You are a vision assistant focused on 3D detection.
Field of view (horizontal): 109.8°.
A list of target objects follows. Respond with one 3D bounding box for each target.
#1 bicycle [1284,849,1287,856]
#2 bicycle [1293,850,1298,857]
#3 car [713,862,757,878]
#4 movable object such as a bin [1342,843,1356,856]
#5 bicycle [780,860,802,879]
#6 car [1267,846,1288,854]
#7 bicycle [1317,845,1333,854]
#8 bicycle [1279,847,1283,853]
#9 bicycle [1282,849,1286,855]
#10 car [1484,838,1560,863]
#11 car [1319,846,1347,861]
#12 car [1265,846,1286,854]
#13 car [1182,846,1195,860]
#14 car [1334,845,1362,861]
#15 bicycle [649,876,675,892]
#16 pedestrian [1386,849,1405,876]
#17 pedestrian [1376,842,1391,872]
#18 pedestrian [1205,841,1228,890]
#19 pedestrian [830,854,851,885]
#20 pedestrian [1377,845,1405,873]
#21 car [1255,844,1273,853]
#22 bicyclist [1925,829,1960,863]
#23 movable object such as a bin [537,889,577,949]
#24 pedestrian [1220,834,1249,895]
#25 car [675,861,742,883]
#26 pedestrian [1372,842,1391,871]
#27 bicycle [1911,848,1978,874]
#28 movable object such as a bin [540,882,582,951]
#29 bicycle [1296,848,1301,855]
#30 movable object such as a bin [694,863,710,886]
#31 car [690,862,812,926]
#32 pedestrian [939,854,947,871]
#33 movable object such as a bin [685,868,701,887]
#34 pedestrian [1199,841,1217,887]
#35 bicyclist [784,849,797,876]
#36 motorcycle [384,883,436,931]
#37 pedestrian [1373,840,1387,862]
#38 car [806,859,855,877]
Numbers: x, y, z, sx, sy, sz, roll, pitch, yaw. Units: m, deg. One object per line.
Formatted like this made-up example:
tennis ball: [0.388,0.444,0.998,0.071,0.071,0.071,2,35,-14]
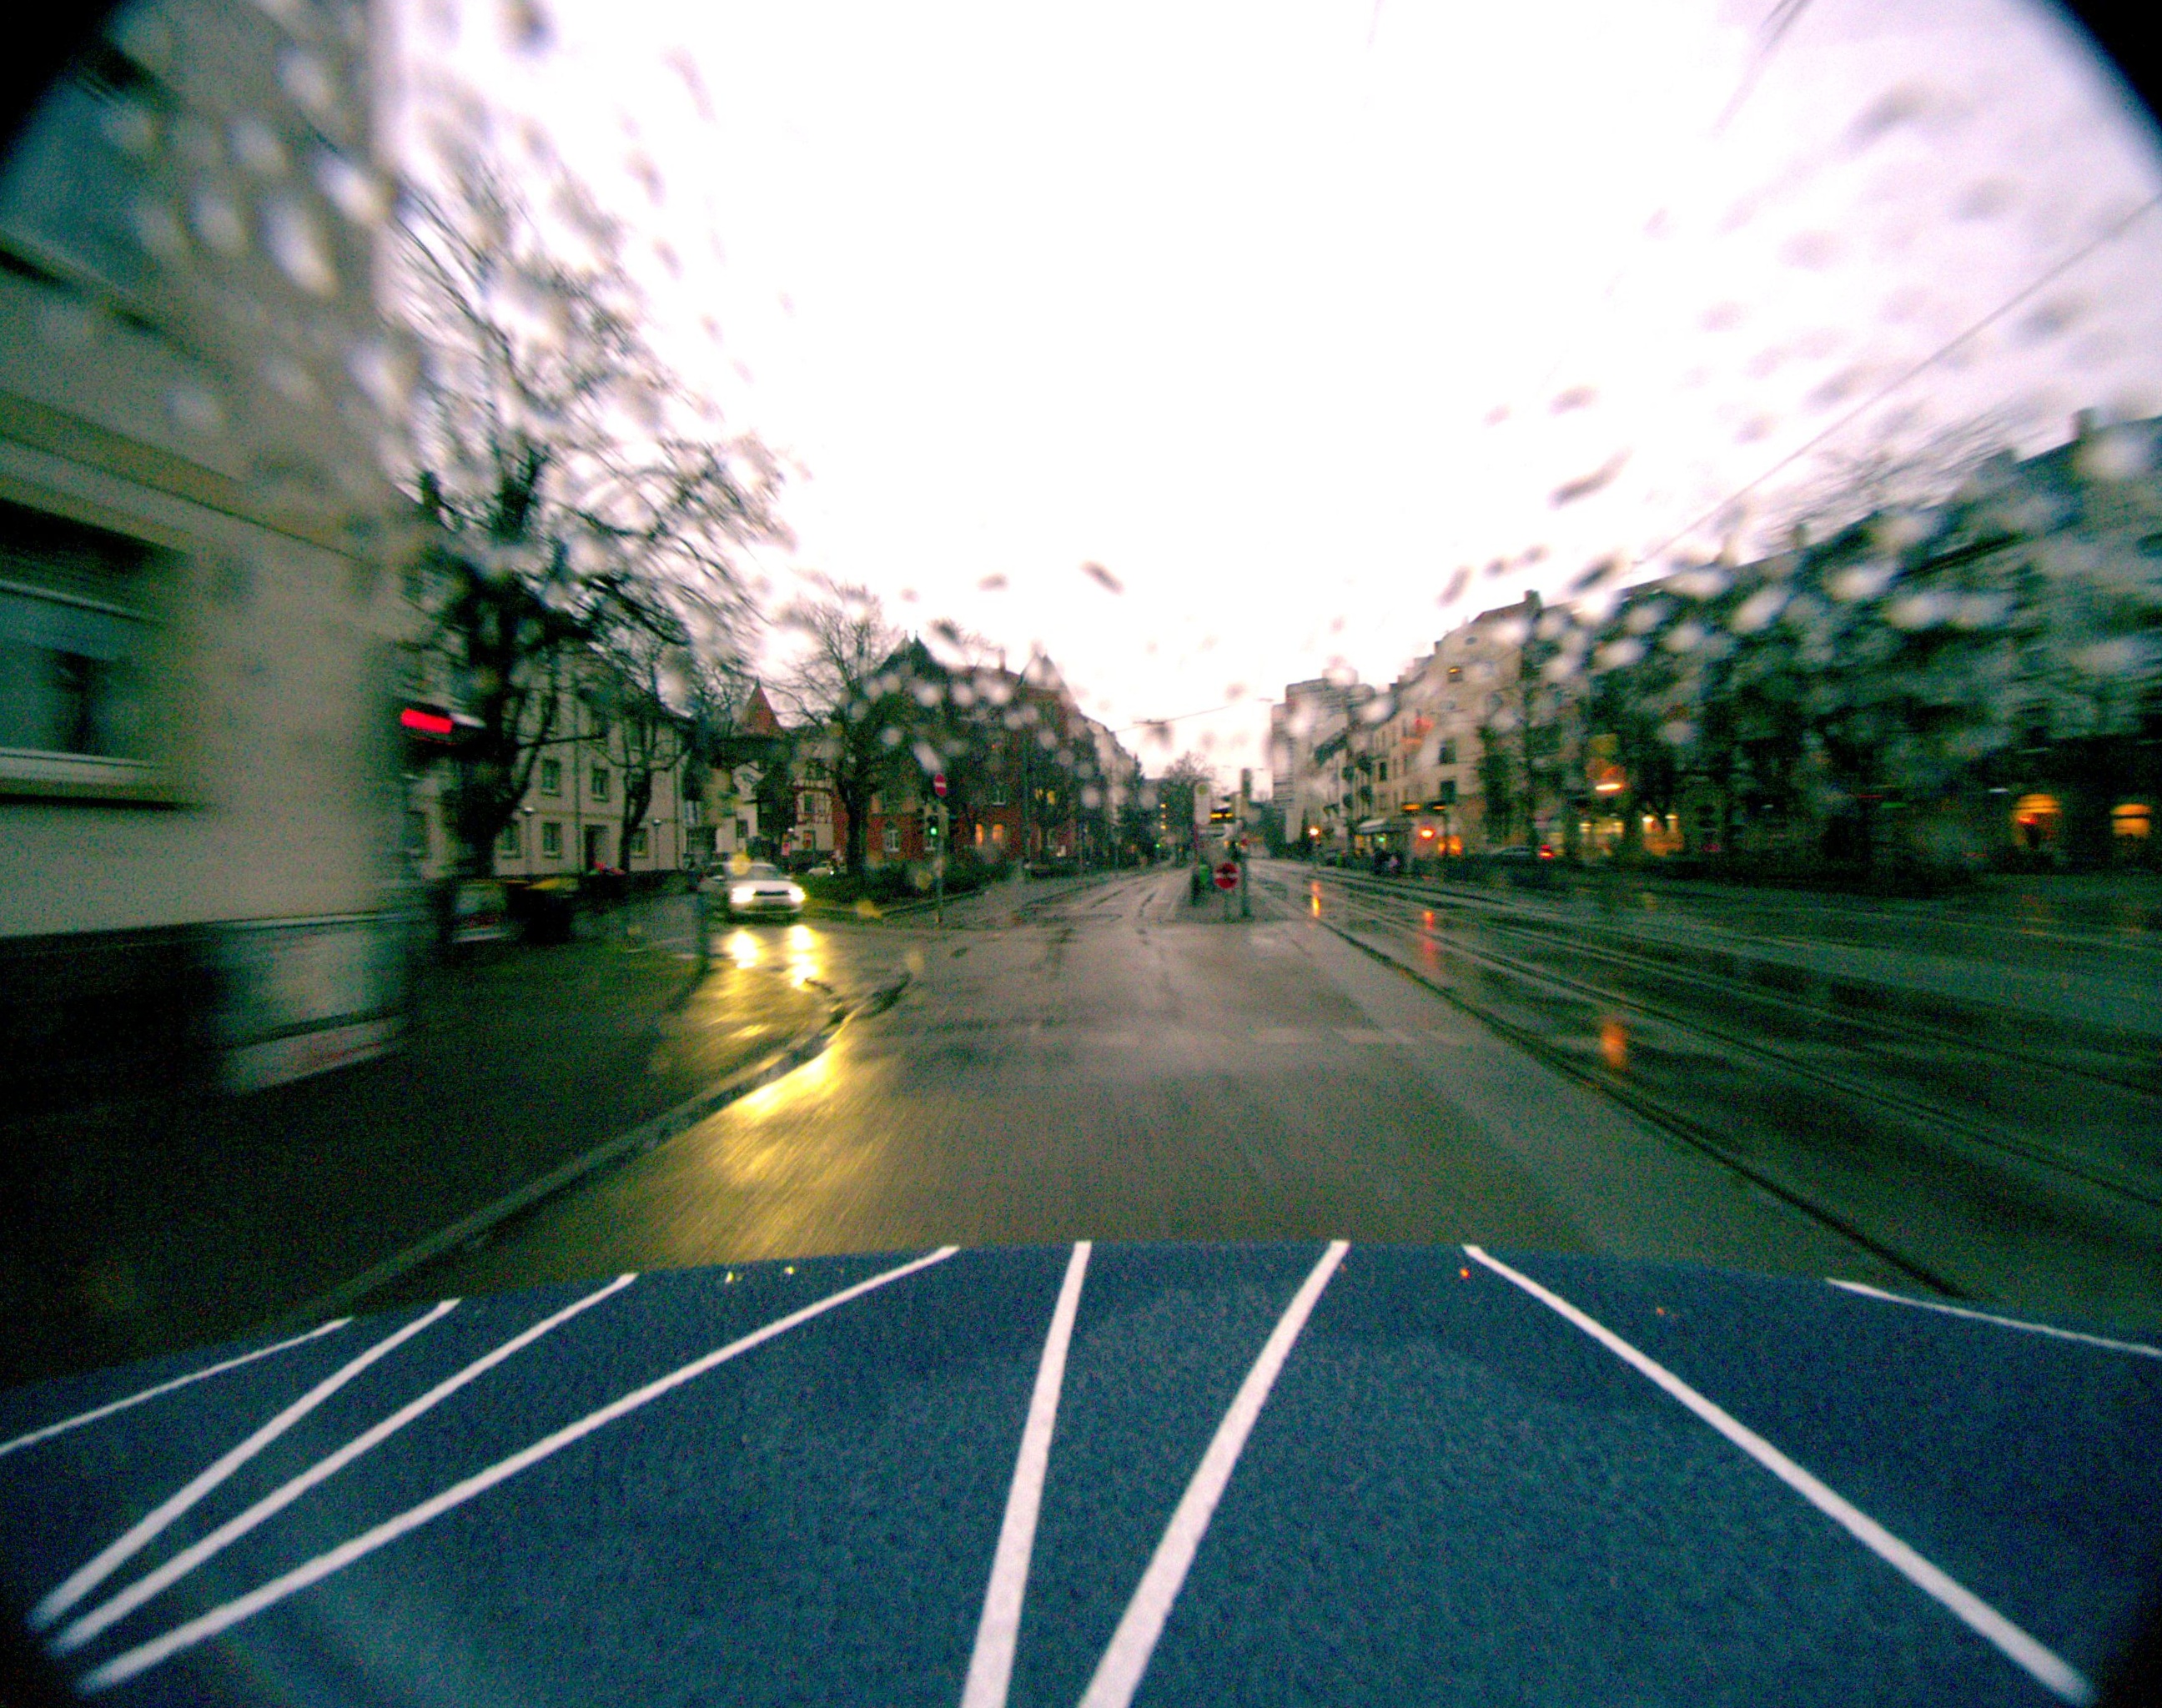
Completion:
bicycle: [34.187,-0.233,127.018,0.435,1.001,1.606,-4,0,11]
bicycle: [32.389,-0.074,114.655,0.530,0.884,2.211,-4,0,14]
car: [-32.517,1.488,71.333,3.989,1.390,1.651,-1,0,29]
movable object such as a bin: [31.035,-0.496,87.986,1.239,1.423,1.074,-5,0,8]
bicycle: [-20.331,1.077,53.263,0.467,1.284,1.915,-1,1,9]
car: [37.722,-0.789,145.834,3.837,1.405,1.728,-2,0,10]
bicycle: [33.250,-0.639,103.531,1.988,1.152,0.531,-5,0,9]
bicycle: [35.398,-0.683,134.517,0.435,1.001,1.882,-4,0,11]
bicycle: [34.525,-0.336,129.161,0.434,1.001,1.882,-1,0,11]
car: [29.769,-0.240,51.329,4.331,1.574,1.941,-1,0,34]
car: [27.247,-0.091,82.218,1.806,1.382,4.510,-5,0,6]
car: [37.972,-0.821,148.504,3.837,1.405,1.728,-1,0,10]
car: [15.225,-0.166,107.580,1.725,1.934,4.511,-5,0,8]
car: [26.975,-0.088,76.855,1.676,1.507,3.680,-5,0,3]
bicycle: [-22.151,1.561,40.218,0.339,0.761,1.590,-1,1,7]
pedestrian: [14.874,0.381,35.933,0.653,1.211,0.517,-4,0,9]
pedestrian: [14.930,0.146,37.513,0.474,1.395,0.454,-4,1,9]
pedestrian: [4.852,0.397,27.201,0.658,1.698,0.571,-4,1,10]
pedestrian: [-14.487,0.923,45.777,0.876,1.853,0.816,-1,1,37]
pedestrian: [14.902,0.233,36.519,1.058,1.247,0.507,-5,0,9]
car: [41.934,-1.180,174.522,3.837,1.707,1.728,-5,0,10]
bicyclist: [35.361,-0.308,31.200,0.531,1.356,0.765,-4,1,-11]
movable object such as a bin: [-10.459,1.281,15.172,0.539,1.113,0.699,-5,1,-38]
pedestrian: [5.017,0.343,24.793,0.687,1.906,0.719,-4,1,21]
car: [-27.595,1.347,56.361,1.846,1.477,4.008,-1,0,38]
pedestrian: [15.020,0.137,38.013,0.685,1.395,0.579,-4,0,9]
bicycle: [35.363,0.272,31.155,0.492,1.001,1.809,-2,1,-11]
movable object such as a bin: [-9.939,1.183,14.528,0.523,1.244,0.852,-5,1,-38]
bicycle: [31.477,-0.331,109.926,0.530,0.934,2.088,-4,0,14]
movable object such as a bin: [-20.570,1.113,41.237,0.528,1.221,0.650,-2,1,-3]
car: [-9.444,1.037,21.502,1.903,1.501,4.740,-2,1,-39]
pedestrian: [-11.229,0.673,61.762,0.546,1.309,0.608,-3,0,-2]
movable object such as a bin: [-20.686,1.239,40.536,0.528,0.975,0.650,-2,1,-3]
pedestrian: [5.074,0.399,30.356,0.558,1.797,0.571,-4,1,10]
bicyclist: [-20.348,0.617,53.239,0.467,1.876,0.680,-1,1,9]
motorcycle: [-16.729,1.303,18.966,0.570,1.099,1.600,1,-1,-26]
pedestrian: [27.147,-0.278,69.041,0.896,1.867,0.796,-5,1,-45]
car: [-21.355,1.175,64.641,3.989,1.487,1.651,-1,0,29]
